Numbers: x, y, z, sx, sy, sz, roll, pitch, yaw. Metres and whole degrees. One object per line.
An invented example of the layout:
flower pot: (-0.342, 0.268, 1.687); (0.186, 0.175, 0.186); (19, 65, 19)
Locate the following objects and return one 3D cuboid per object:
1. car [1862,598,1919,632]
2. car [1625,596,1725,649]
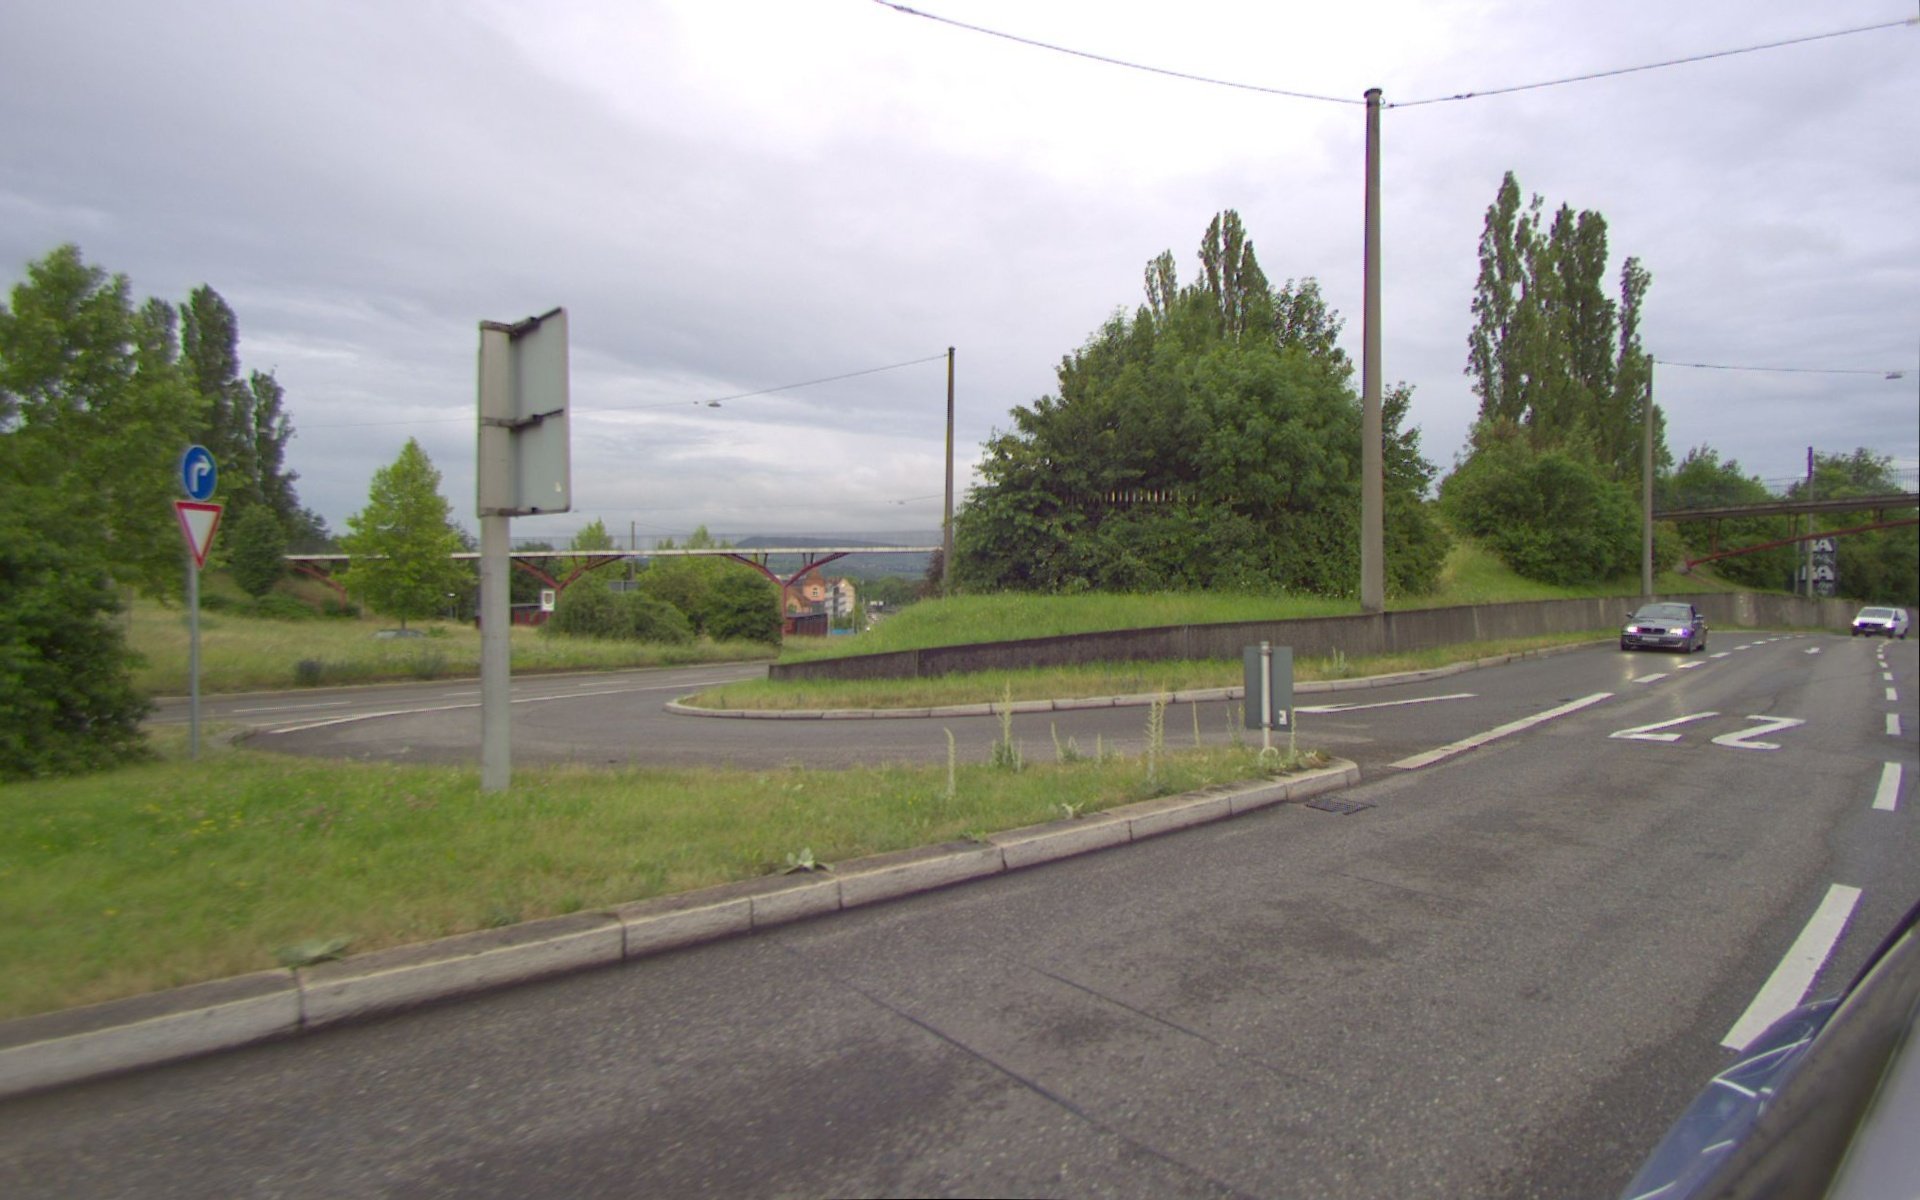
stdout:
car: (56.460, 0.864, 61.216); (4.736, 1.871, 1.999); (-1, 3, -39)
car: (21.056, 0.646, 29.740); (4.014, 1.438, 1.681); (1, -2, -44)
